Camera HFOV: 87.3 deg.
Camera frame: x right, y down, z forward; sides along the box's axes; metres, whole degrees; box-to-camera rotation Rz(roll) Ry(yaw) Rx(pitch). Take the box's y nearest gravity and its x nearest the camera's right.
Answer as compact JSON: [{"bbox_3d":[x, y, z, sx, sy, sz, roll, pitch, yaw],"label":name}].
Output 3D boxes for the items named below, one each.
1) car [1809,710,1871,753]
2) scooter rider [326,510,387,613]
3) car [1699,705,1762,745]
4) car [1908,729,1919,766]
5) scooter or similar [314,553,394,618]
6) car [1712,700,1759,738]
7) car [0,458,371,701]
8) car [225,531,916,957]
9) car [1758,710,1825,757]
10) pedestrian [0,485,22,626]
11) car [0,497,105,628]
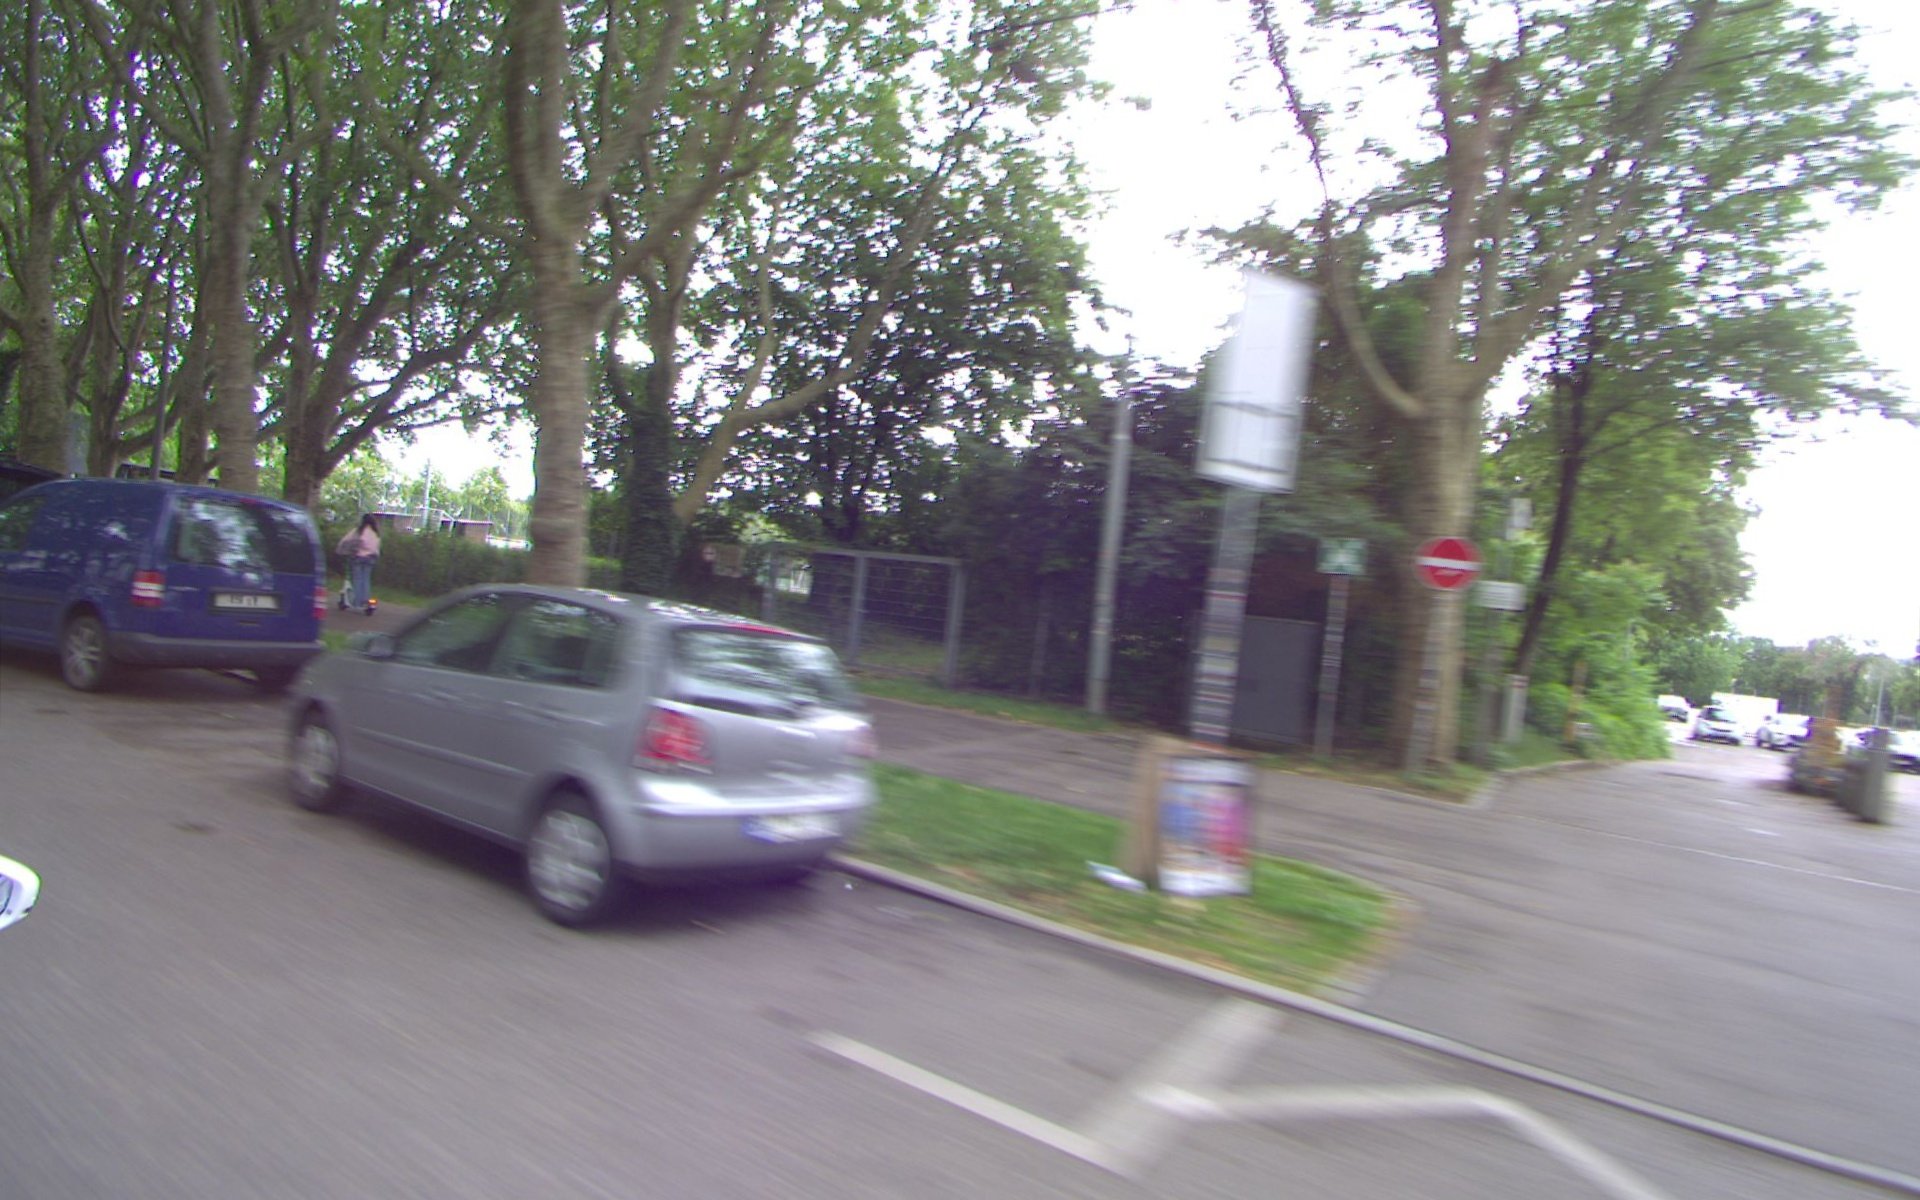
[{"bbox_3d":[43.112,6.404,49.348,1.801,1.775,3.986,7,-1,37],"label":"car"},{"bbox_3d":[-11.203,-0.712,18.684,0.578,1.824,0.676,7,3,32],"label":"scooter rider"},{"bbox_3d":[34.016,5.474,44.369,1.971,1.399,3.984,7,-1,39],"label":"car"},{"bbox_3d":[39.830,6.079,40.566,1.908,1.399,3.984,7,-1,39],"label":"car"},{"bbox_3d":[-11.299,-0.271,18.749,1.443,1.052,0.680,7,3,33],"label":"scooter or similar"},{"bbox_3d":[42.981,6.588,55.822,1.801,1.775,3.986,7,-1,37],"label":"car"},{"bbox_3d":[-8.160,-0.263,9.746,4.366,1.803,1.849,7,-2,24],"label":"car"},{"bbox_3d":[-2.372,0.592,5.779,3.882,1.478,1.622,7,-2,34],"label":"car"},{"bbox_3d":[35.285,5.621,42.773,1.971,1.621,3.984,7,-1,39],"label":"car"},{"bbox_3d":[-11.715,-0.572,11.889,0.730,1.647,0.634,7,1,32],"label":"pedestrian"},{"bbox_3d":[-13.397,-0.694,13.226,4.299,1.495,1.997,7,-2,32],"label":"car"}]
